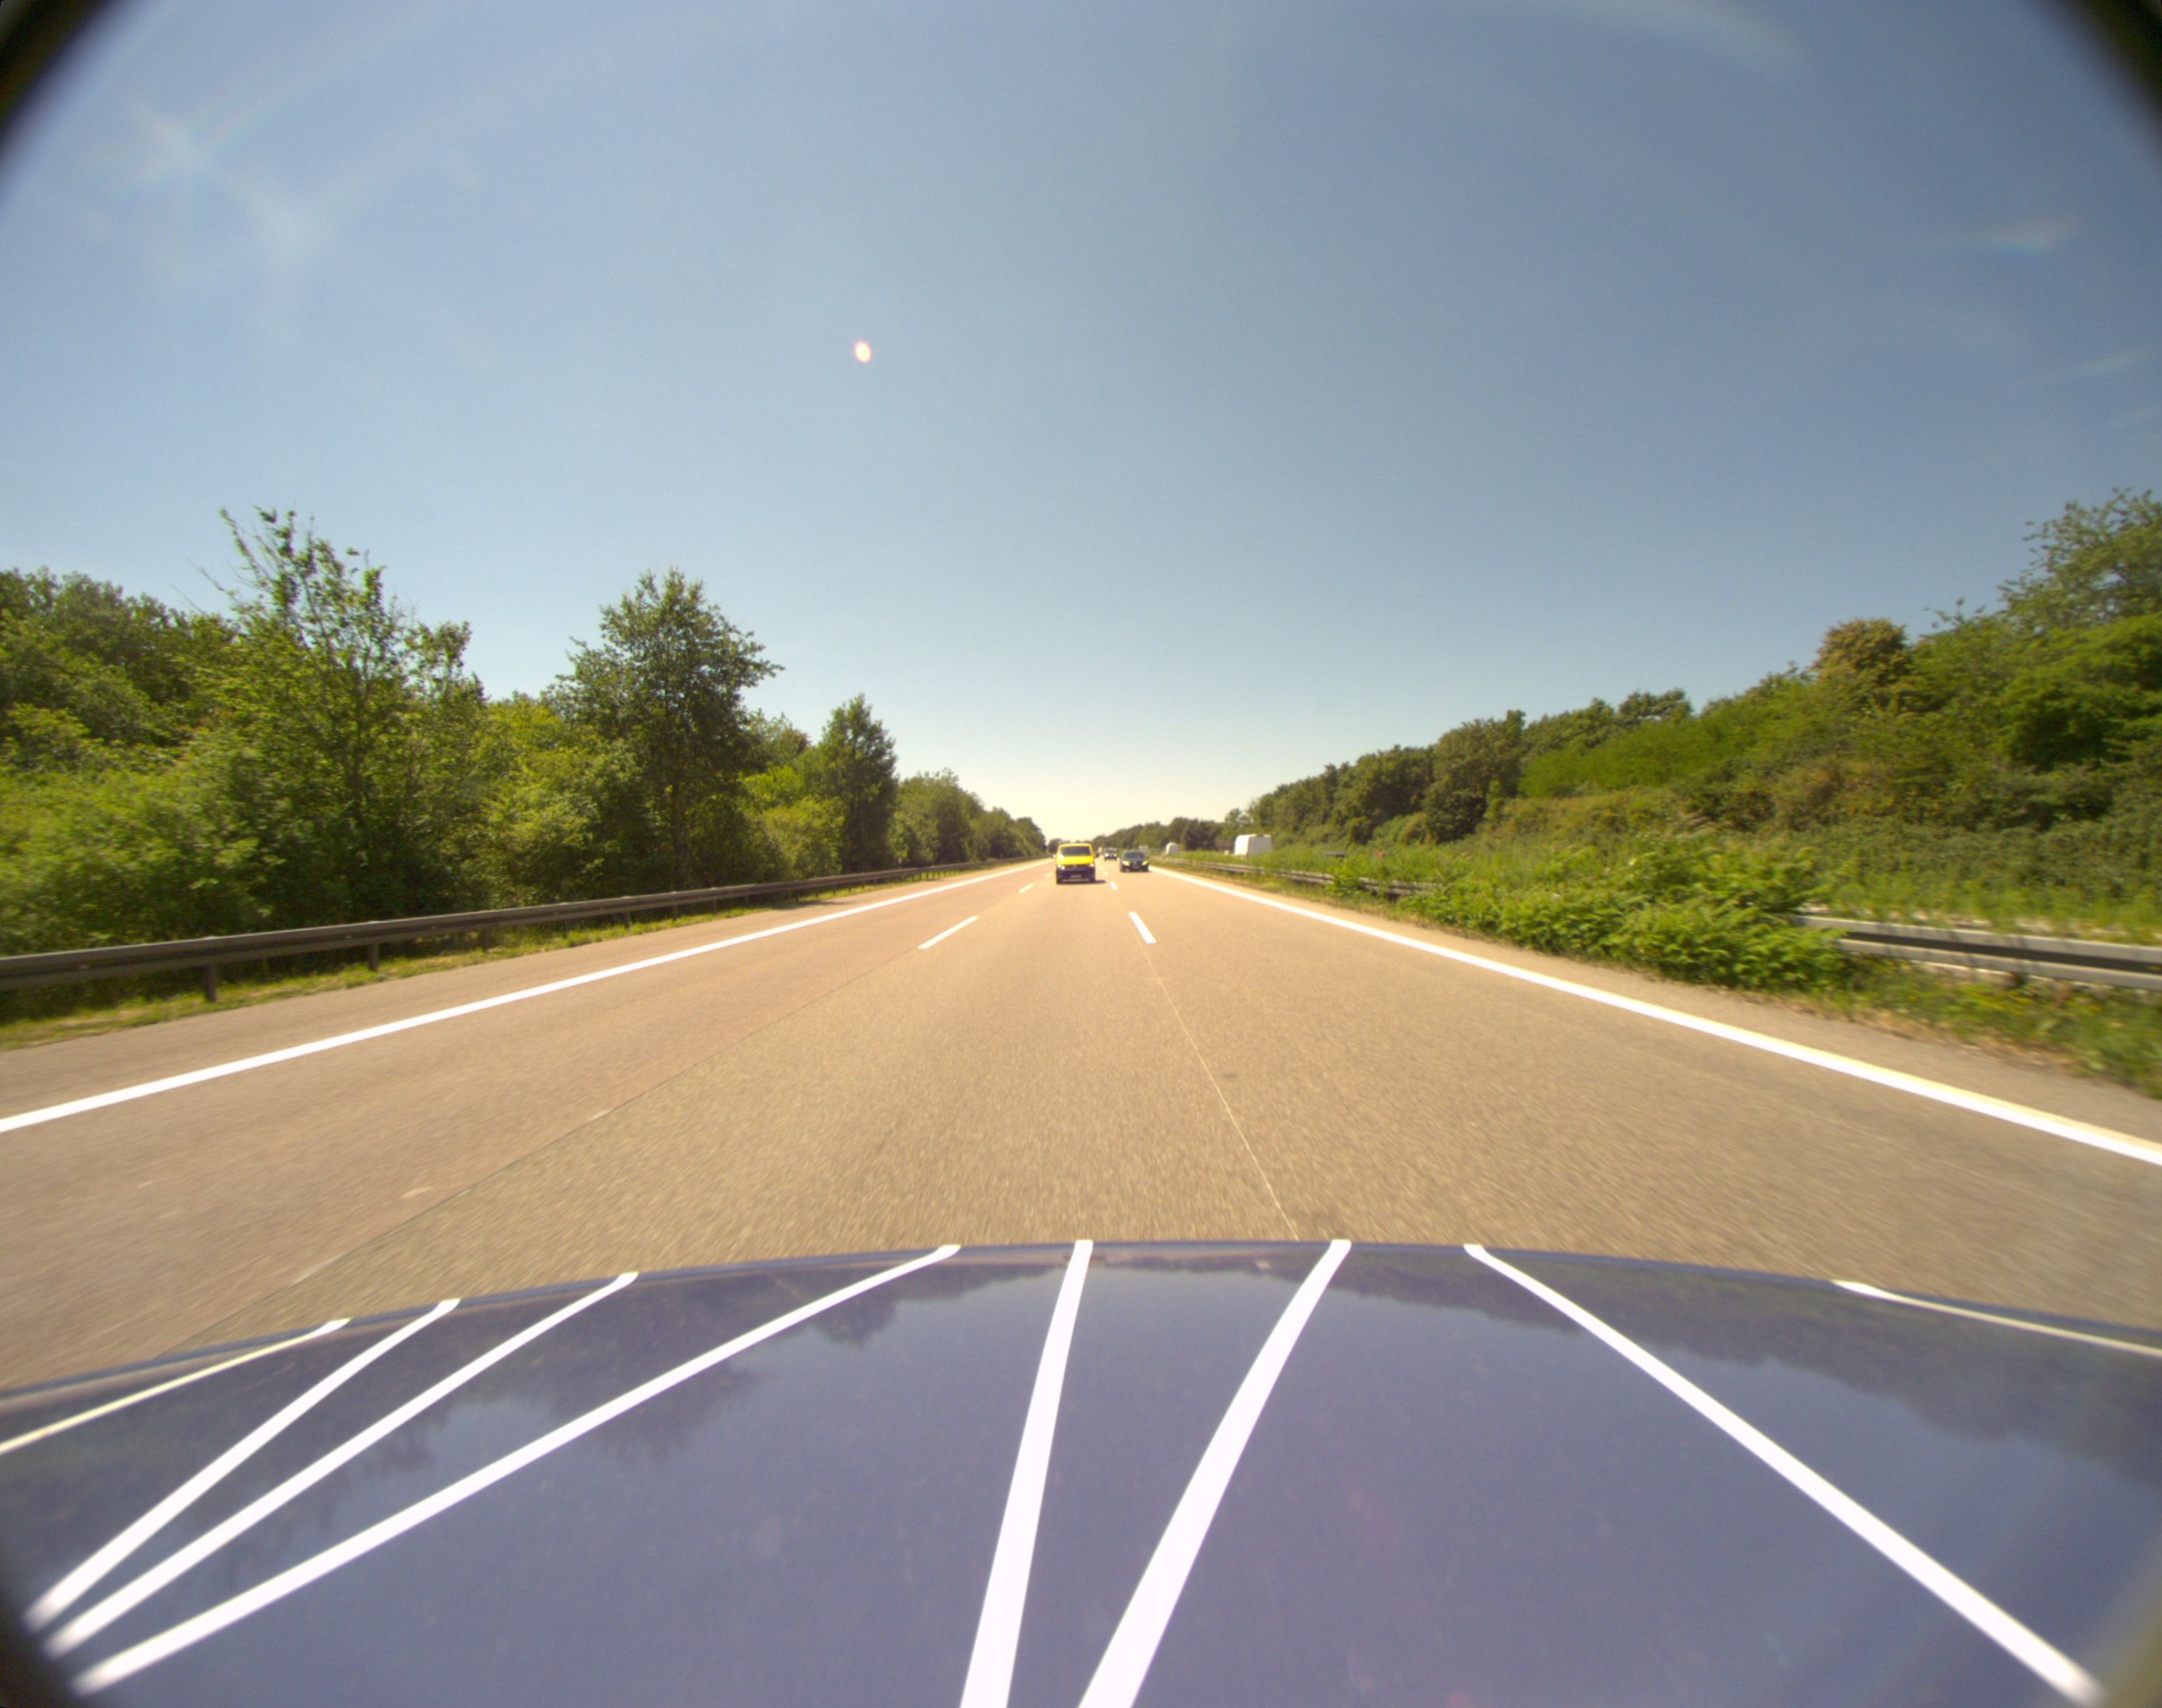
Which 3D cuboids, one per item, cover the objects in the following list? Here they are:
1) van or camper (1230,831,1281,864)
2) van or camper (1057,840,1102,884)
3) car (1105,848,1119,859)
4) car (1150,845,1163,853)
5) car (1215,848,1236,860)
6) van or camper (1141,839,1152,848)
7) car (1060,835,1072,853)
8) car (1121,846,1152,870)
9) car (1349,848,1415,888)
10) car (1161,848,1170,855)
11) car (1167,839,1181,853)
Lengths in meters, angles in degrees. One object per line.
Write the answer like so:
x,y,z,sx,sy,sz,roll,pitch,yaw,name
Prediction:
13.533,-0.486,59.414,2.431,2.352,6.335,-2,1,0,van or camper
0.014,0.352,38.098,2.063,1.992,5.884,-1,1,2,van or camper
4.583,-0.106,111.433,1.894,1.541,4.039,1,1,0,car
14.199,-0.899,142.515,1.998,1.558,5.043,0,1,0,car
19.075,-0.015,100.510,1.945,1.499,4.448,-2,1,0,car
21.346,-3.396,247.896,2.612,2.985,7.755,-1,1,0,van or camper
-3.317,-2.265,171.906,2.298,3.886,9.268,1,1,0,car
3.806,0.254,52.857,1.894,1.541,4.039,1,1,0,car
16.524,0.725,41.926,1.998,2.002,4.175,-2,1,1,car
19.584,-0.519,176.195,1.746,1.499,4.415,-2,1,0,car
18.177,-1.567,148.539,2.041,2.731,6.657,1,1,0,car
